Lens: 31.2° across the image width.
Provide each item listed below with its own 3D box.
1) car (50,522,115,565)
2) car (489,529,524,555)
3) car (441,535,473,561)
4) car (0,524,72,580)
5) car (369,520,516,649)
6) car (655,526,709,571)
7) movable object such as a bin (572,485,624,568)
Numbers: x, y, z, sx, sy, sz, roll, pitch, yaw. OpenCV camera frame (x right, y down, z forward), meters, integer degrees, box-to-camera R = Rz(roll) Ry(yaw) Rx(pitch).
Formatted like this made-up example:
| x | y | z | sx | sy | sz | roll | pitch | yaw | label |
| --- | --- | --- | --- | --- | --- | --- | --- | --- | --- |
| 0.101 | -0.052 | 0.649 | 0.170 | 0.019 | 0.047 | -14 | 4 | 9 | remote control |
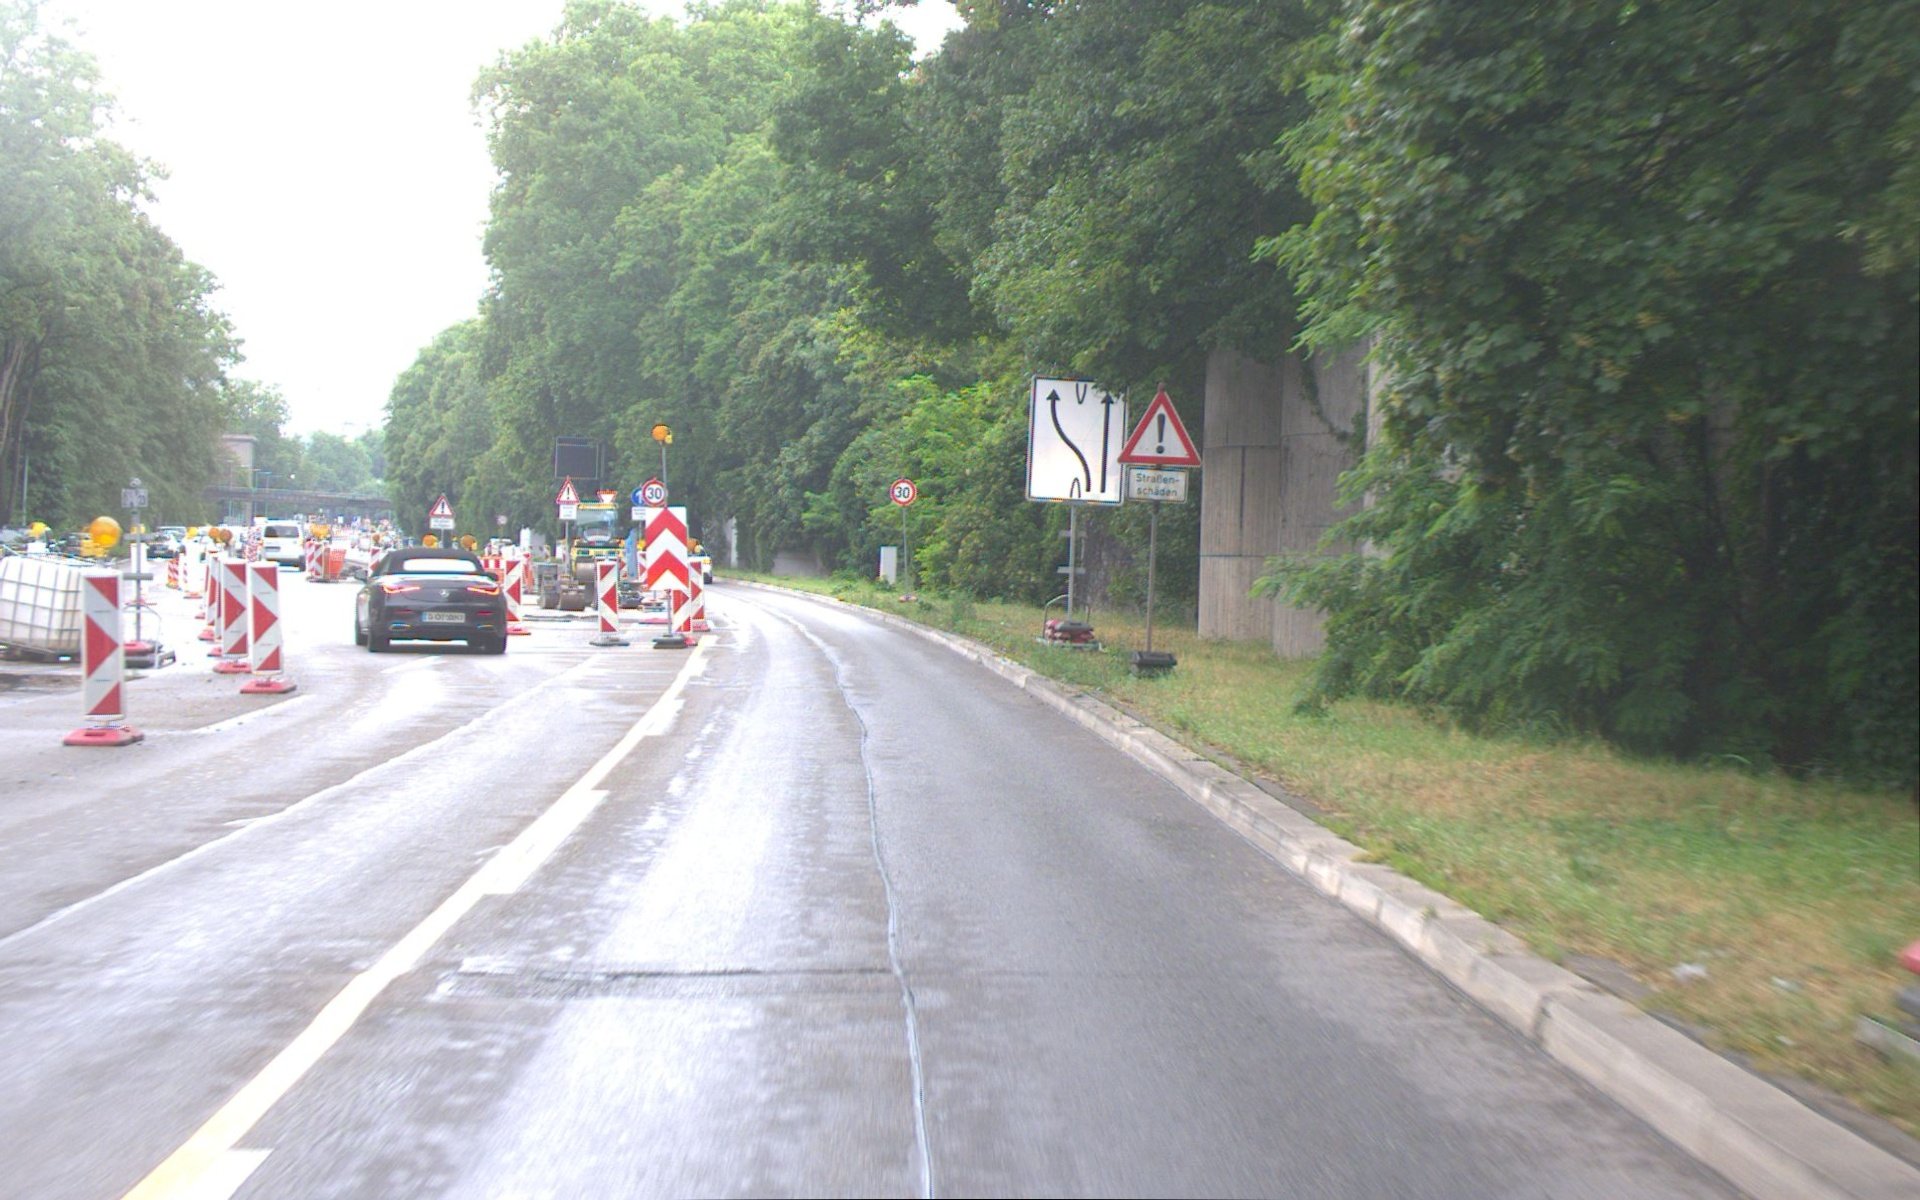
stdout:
| x | y | z | sx | sy | sz | roll | pitch | yaw | label |
| --- | --- | --- | --- | --- | --- | --- | --- | --- | --- |
| -30.017 | -1.932 | 117.706 | 1.525 | 1.452 | 3.540 | 0 | 1 | -4 | car |
| -27.201 | -3.477 | 206.047 | 1.756 | 1.339 | 4.002 | 3 | 2 | -11 | car |
| -34.836 | -3.588 | 238.055 | 1.875 | 1.612 | 4.001 | 4 | 1 | -6 | car |
| -28.057 | -1.474 | 103.789 | 1.635 | 1.641 | 4.200 | 1 | 1 | -3 | car |
| -7.120 | -0.248 | 47.491 | 1.861 | 1.486 | 4.002 | 3 | 3 | -8 | car |
| -10.523 | -1.963 | 129.914 | 1.913 | 1.592 | 4.835 | 2 | 1 | -6 | car |
| -12.762 | -2.587 | 121.064 | 1.746 | 2.857 | 3.535 | 1 | 1 | -7 | movable object such as a bin |
